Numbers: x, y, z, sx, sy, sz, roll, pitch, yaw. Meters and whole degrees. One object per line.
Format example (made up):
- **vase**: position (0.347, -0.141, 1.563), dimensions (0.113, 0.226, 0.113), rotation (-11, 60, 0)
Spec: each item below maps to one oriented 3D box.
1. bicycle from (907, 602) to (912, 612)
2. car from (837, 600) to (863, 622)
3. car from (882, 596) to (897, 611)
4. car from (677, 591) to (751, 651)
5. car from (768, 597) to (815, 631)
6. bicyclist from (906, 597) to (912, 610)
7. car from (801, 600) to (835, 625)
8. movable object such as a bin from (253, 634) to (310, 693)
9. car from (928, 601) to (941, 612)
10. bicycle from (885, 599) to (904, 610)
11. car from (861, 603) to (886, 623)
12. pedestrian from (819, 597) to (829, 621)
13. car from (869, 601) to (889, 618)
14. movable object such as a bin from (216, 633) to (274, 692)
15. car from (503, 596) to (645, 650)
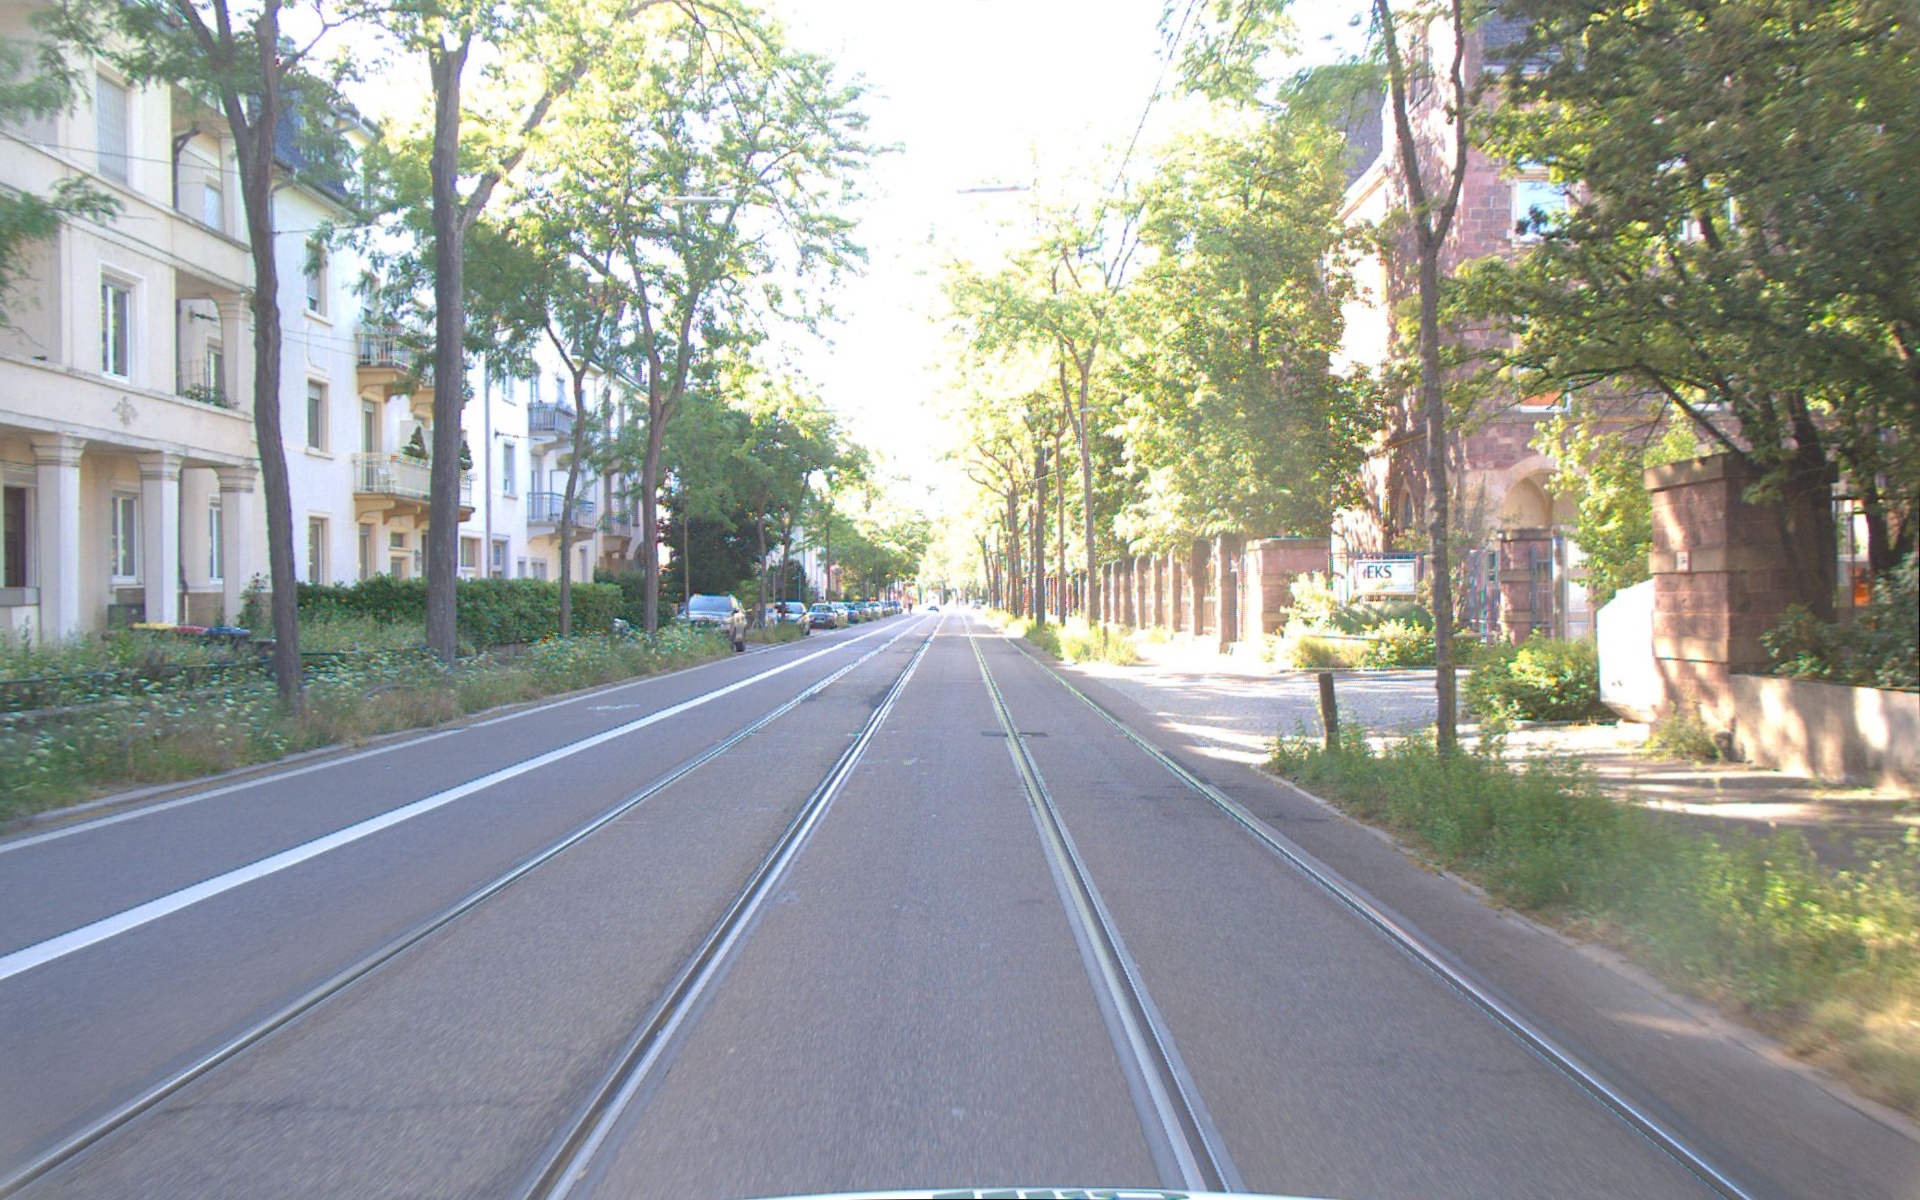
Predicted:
- **bicycle**: position (-6.547, 0.917, 213.965), dimensions (0.614, 1.198, 1.913), rotation (-3, 0, 0)
- **car**: position (-7.983, 0.809, 120.187), dimensions (1.722, 1.537, 4.437), rotation (1, 0, -1)
- **car**: position (-7.523, 0.352, 177.134), dimensions (1.529, 1.482, 3.929), rotation (2, 0, -2)
- **car**: position (-7.952, 0.655, 53.781), dimensions (1.832, 1.855, 4.769), rotation (0, 0, -2)
- **car**: position (-8.056, 0.667, 79.354), dimensions (1.740, 1.568, 4.485), rotation (1, 0, 0)
- **bicyclist**: position (-6.578, 0.504, 213.961), dimensions (0.613, 1.667, 0.940), rotation (-3, 0, 0)
- **car**: position (-8.428, 0.719, 98.239), dimensions (1.671, 1.431, 4.333), rotation (1, 0, -1)
- **movable object such as a bin**: position (-11.148, 1.035, 27.186), dimensions (0.615, 0.937, 0.740), rotation (1, 0, 0)
- **car**: position (-3.581, 0.881, 228.797), dimensions (1.722, 1.464, 4.522), rotation (0, 0, -1)
- **bicycle**: position (-7.784, 0.543, 196.585), dimensions (2.236, 1.219, 0.560), rotation (2, 1, 7)
- **car**: position (-6.996, 1.030, 133.455), dimensions (1.780, 1.511, 4.206), rotation (1, 0, 0)
- **pedestrian**: position (-10.331, 0.676, 125.302), dimensions (0.677, 1.833, 0.813), rotation (-1, 0, 0)
- **car**: position (-7.799, 0.880, 159.416), dimensions (1.668, 1.511, 4.078), rotation (2, 0, 0)
- **movable object such as a bin**: position (-11.834, 1.031, 27.377), dimensions (0.615, 0.937, 0.740), rotation (1, 0, 0)
- **car**: position (-12.798, 0.737, 55.013), dimensions (4.211, 1.690, 1.953), rotation (1, 0, 1)
